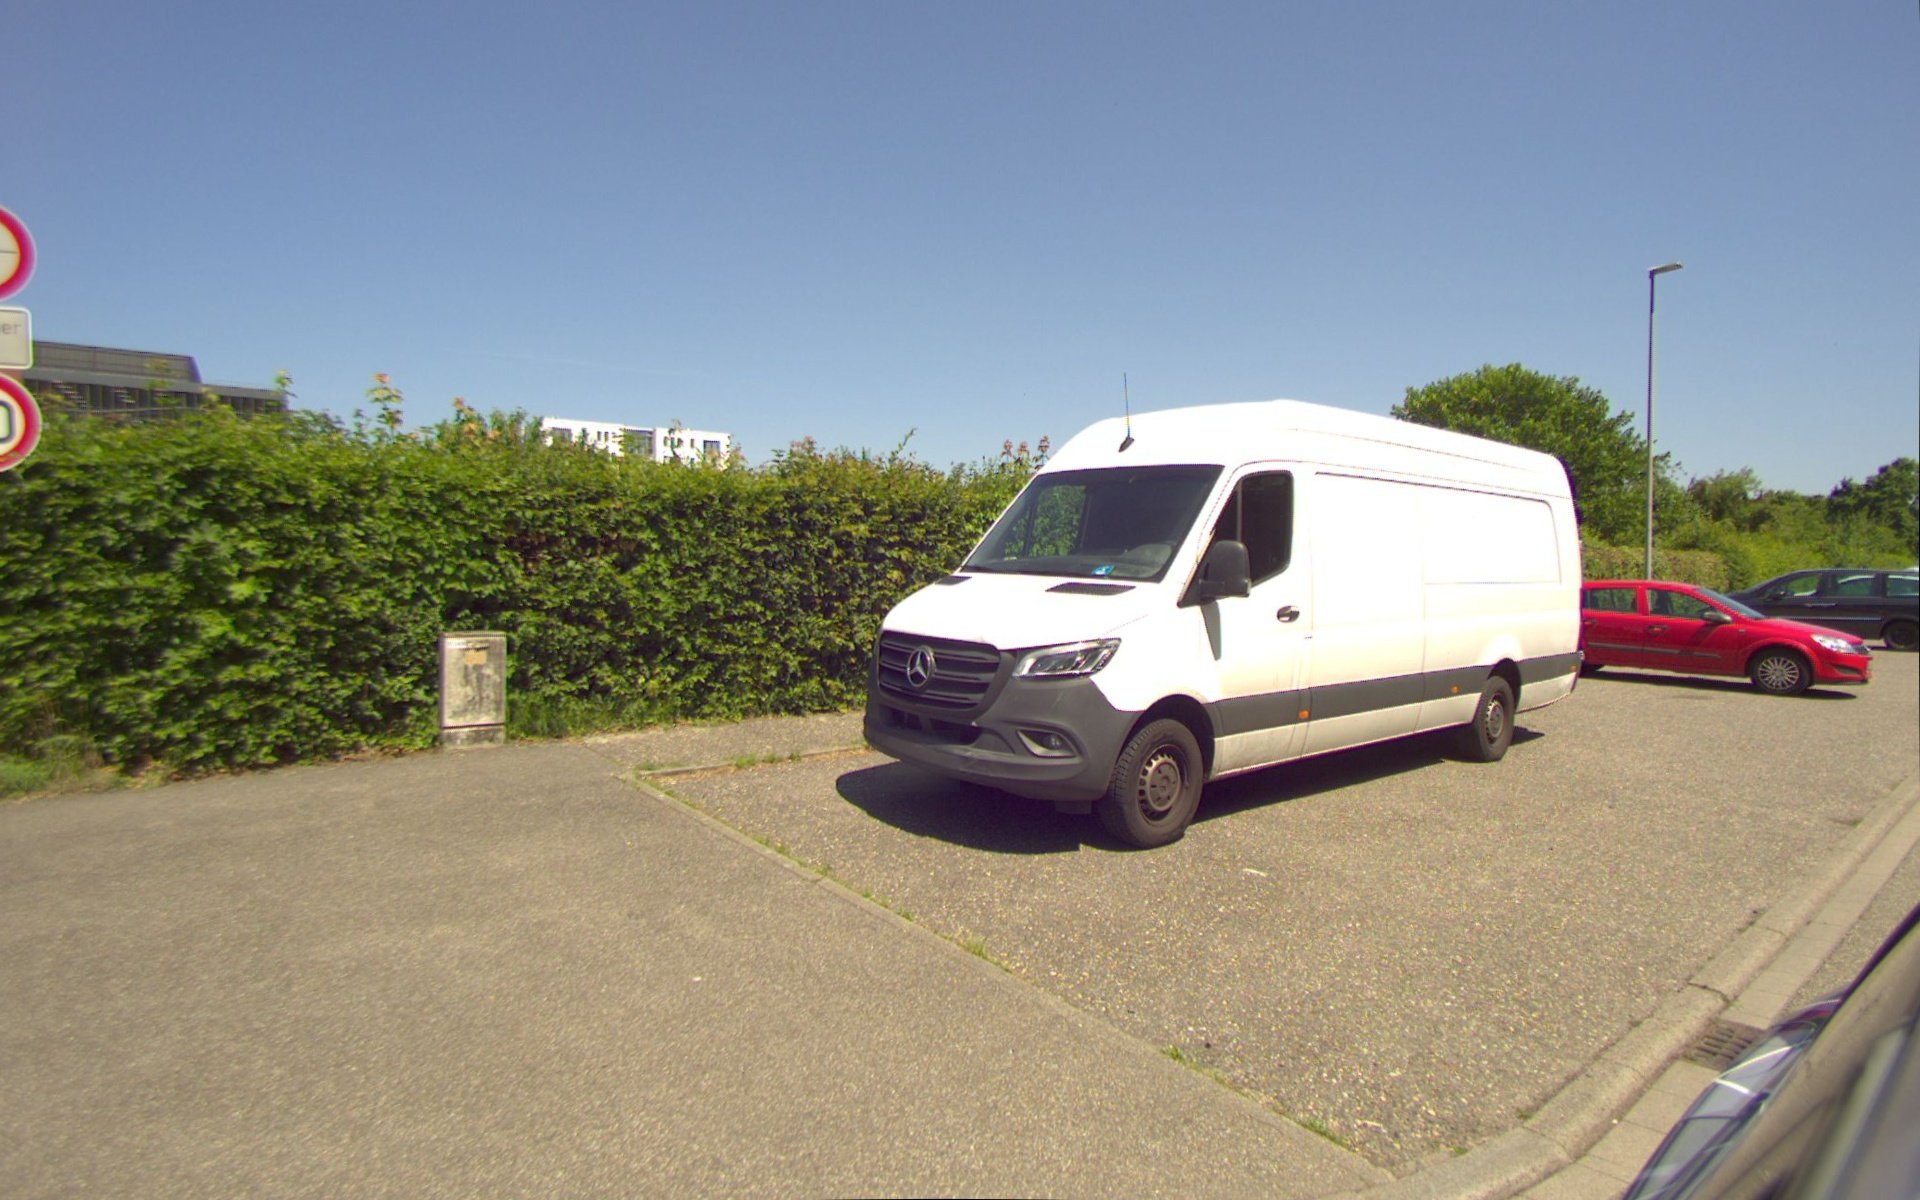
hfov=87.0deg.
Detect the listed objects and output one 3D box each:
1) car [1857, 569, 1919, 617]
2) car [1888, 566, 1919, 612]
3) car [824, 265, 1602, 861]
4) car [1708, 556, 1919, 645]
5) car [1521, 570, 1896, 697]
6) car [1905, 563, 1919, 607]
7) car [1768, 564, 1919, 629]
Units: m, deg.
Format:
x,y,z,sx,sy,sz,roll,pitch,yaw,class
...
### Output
x,y,z,sx,sy,sz,roll,pitch,yaw,class
31.668,-0.236,32.974,1.559,1.522,3.398,-1,3,-37,car
34.204,-0.312,34.303,3.964,1.541,1.835,5,5,44,car
2.494,-0.254,7.725,7.040,2.767,1.959,-1,3,-40,car
19.953,-0.057,23.035,1.921,1.826,4.457,-3,5,-44,car
10.581,0.350,14.529,1.805,1.451,4.059,-2,4,-43,car
38.555,-0.503,38.287,1.637,1.660,3.964,-2,5,-44,car
24.492,-0.134,27.071,1.736,1.597,4.283,-2,4,-42,car
